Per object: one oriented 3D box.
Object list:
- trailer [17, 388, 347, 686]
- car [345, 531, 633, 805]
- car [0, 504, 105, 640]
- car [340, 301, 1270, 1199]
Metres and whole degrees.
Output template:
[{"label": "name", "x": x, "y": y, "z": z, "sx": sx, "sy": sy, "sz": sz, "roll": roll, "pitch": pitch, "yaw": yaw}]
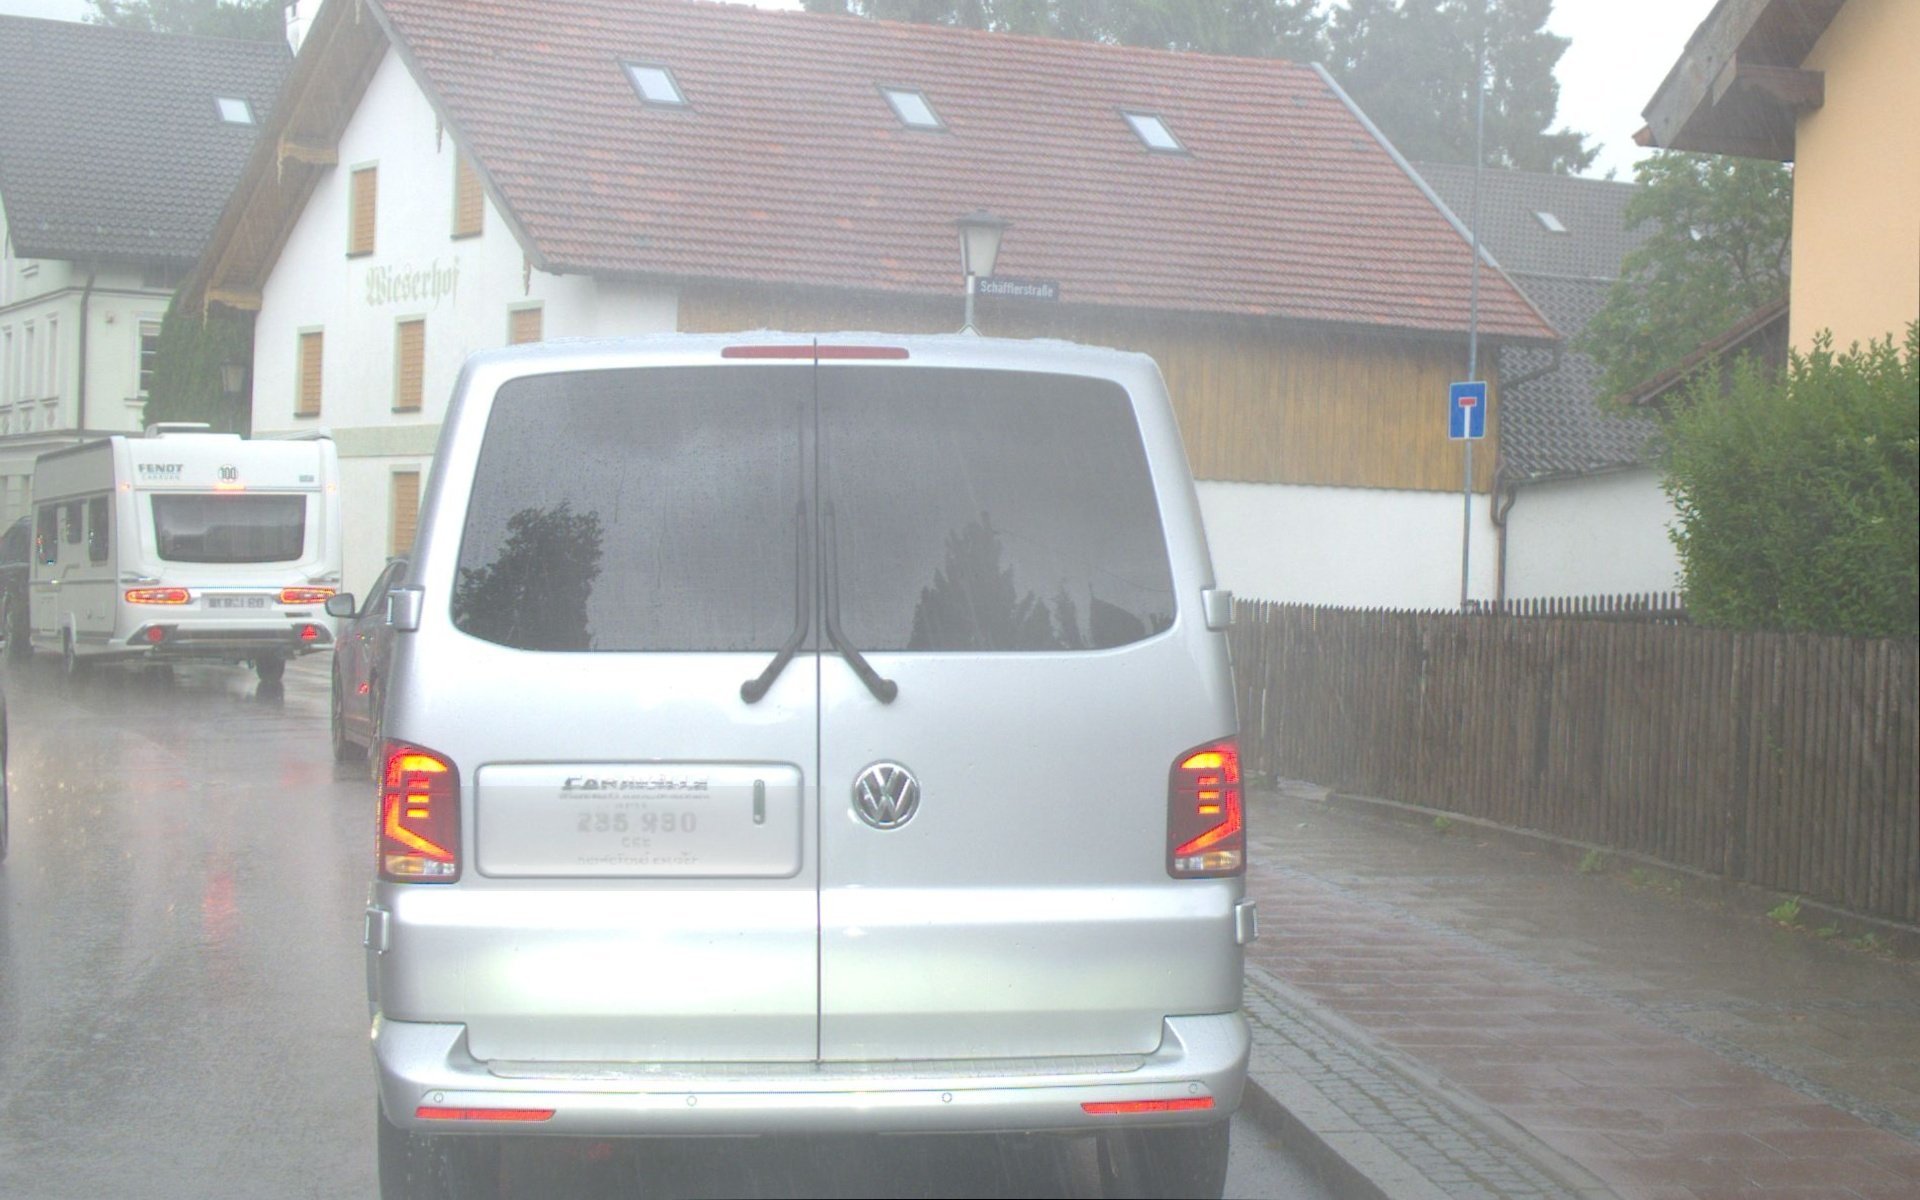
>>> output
[{"label": "trailer", "x": -8.399, "y": -0.654, "z": 36.614, "sx": 2.270, "sy": 2.894, "sz": 6.133, "roll": 0, "pitch": 1, "yaw": -24}, {"label": "car", "x": -3.266, "y": 0.363, "z": 23.193, "sx": 1.708, "sy": 1.578, "sz": 4.687, "roll": -1, "pitch": 2, "yaw": -10}, {"label": "car", "x": -14.425, "y": -0.431, "z": 51.231, "sx": 2.168, "sy": 1.893, "sz": 5.015, "roll": 2, "pitch": 0, "yaw": -26}, {"label": "car", "x": -0.293, "y": 0.377, "z": 9.126, "sx": 1.776, "sy": 1.956, "sz": 5.074, "roll": 0, "pitch": 1, "yaw": 0}]
